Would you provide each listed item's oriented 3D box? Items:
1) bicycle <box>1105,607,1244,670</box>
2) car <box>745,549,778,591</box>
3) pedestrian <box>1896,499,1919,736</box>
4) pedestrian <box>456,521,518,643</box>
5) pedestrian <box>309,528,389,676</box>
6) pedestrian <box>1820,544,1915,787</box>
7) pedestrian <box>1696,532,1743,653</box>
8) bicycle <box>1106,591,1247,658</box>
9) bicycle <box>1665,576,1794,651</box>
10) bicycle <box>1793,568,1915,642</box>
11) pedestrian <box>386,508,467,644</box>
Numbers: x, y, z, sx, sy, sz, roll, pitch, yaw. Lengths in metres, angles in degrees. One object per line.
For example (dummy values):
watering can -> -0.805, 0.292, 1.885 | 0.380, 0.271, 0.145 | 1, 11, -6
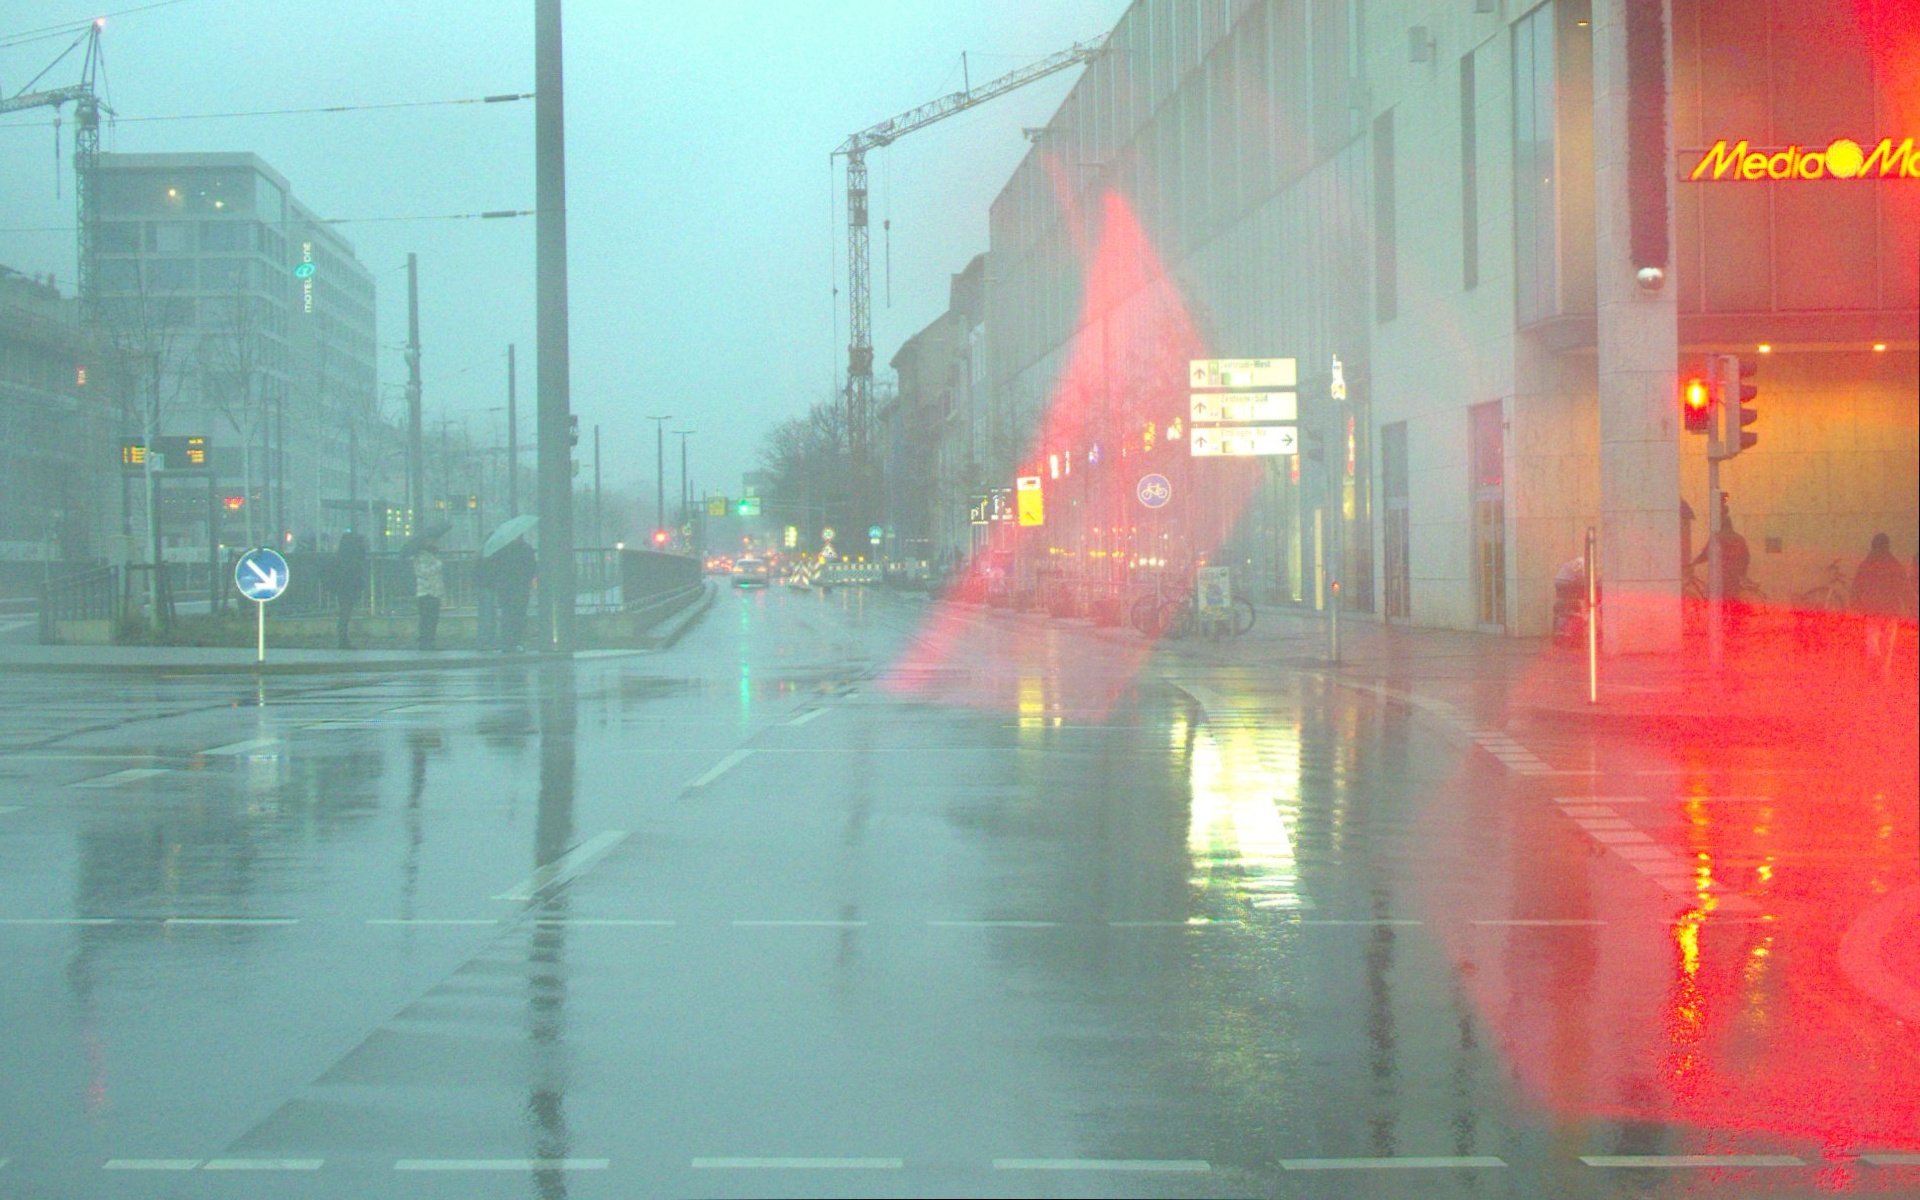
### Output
bicycle -> 3.880, 0.697, 62.296 | 2.425, 1.095, 0.712 | -1, 0, -2
car -> -9.733, -1.487, 168.581 | 1.577, 2.007, 3.172 | -1, 1, -3
pedestrian -> 10.159, 0.177, 35.604 | 0.689, 2.433, 0.758 | 1, 0, -1
pedestrian -> -6.607, -0.256, 47.981 | 0.612, 1.680, 0.577 | 1, 1, 42
pedestrian -> -8.422, 0.024, 47.393 | 0.785, 2.007, 0.726 | 1, 1, 42
pedestrian -> 9.206, 0.651, 34.895 | 0.714, 2.433, 0.758 | 1, 0, -1
pedestrian -> 11.063, -0.115, 50.061 | 0.600, 1.739, 0.524 | 1, 0, 8
bicycle -> 3.873, 0.436, 61.571 | 2.442, 1.150, 0.674 | -1, 0, -1
bicycle -> 11.340, 0.197, 50.688 | 1.767, 1.066, 0.525 | 1, 0, -4
bicycle -> 13.208, 0.064, 50.820 | 1.646, 1.066, 0.525 | 1, 0, -4
pedestrian -> -7.208, -0.324, 46.439 | 0.821, 1.825, 0.786 | 1, 0, -31
